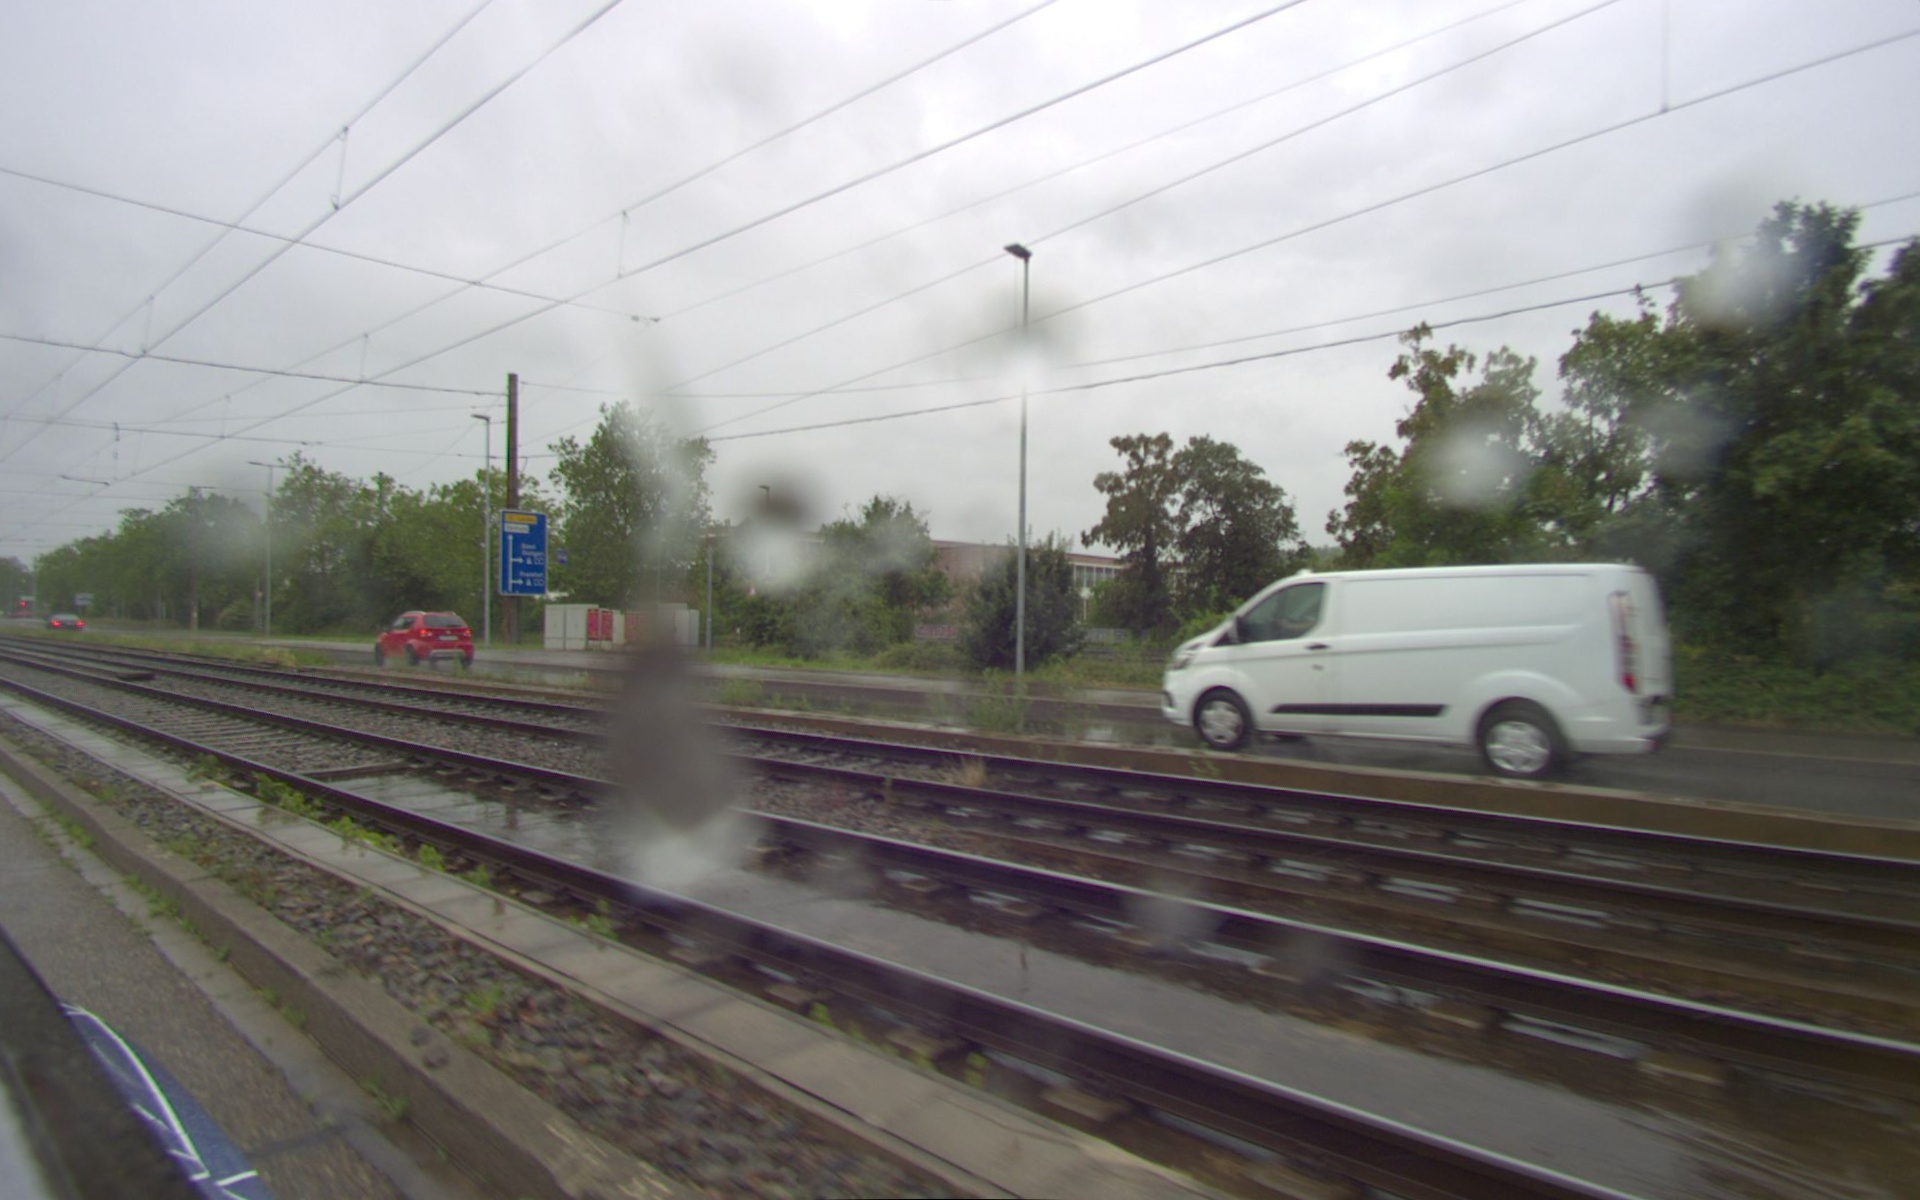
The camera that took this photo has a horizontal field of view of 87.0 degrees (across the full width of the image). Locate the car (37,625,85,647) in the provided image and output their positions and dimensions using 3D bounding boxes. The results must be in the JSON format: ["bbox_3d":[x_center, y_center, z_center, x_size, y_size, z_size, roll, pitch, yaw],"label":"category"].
[{"bbox_3d":[-67.669,2.686,76.171,4.953,1.534,1.973,0,1,40],"label":"car"}]

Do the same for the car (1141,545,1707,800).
[{"bbox_3d":[4.606,0.607,10.588,5.025,2.059,1.973,-1,0,41],"label":"car"}]

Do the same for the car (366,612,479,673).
[{"bbox_3d":[-15.650,1.174,29.399,3.649,1.613,1.706,0,1,41],"label":"car"}]
